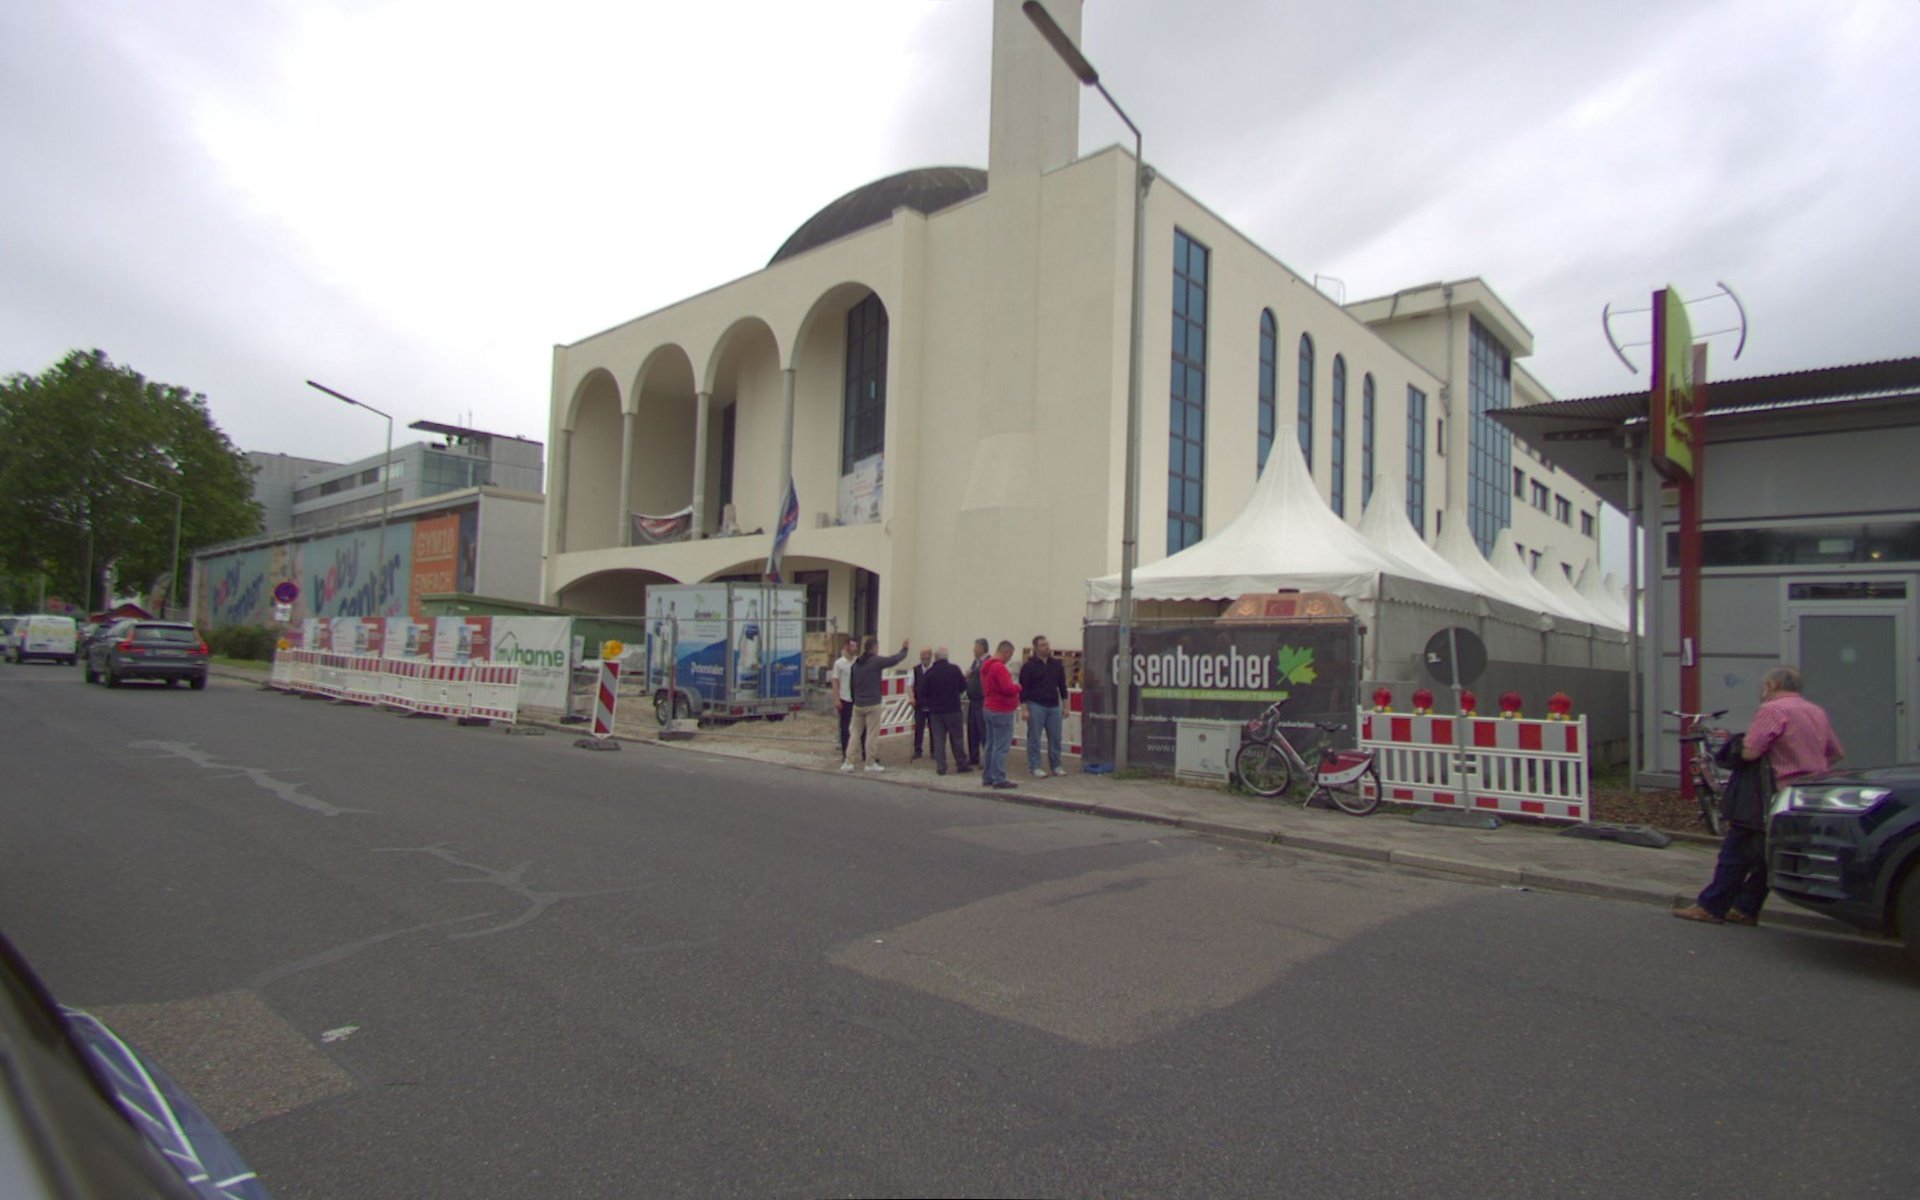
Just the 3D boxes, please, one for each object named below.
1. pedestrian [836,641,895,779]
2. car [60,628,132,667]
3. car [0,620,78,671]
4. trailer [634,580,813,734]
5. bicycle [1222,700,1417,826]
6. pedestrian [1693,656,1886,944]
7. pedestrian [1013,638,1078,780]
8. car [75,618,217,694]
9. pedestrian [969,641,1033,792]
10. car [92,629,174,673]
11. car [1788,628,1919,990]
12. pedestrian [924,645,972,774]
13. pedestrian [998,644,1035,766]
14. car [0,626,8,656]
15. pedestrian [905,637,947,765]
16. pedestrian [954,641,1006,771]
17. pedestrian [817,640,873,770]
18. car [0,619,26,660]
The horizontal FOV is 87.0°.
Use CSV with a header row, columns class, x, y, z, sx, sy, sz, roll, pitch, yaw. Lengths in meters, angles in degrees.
class,x,y,z,sx,sy,sz,roll,pitch,yaw
pedestrian,-1.240,1.439,13.388,0.682,1.763,0.490,-2,-3,1
car,-39.594,2.158,46.355,4.150,1.586,1.903,-1,-8,43
car,-34.652,1.692,38.026,4.133,1.774,1.672,-1,-5,42
trailer,-4.498,1.067,19.112,1.777,2.627,3.193,6,-5,-44
bicycle,3.754,1.663,10.707,0.537,1.086,1.903,4,-3,-41
pedestrian,5.167,1.212,6.359,0.667,1.634,0.652,4,-6,6
pedestrian,1.070,1.353,12.796,0.686,1.731,0.687,-2,-3,-1
car,-20.191,1.364,25.045,4.494,1.697,1.913,-1,-5,42
pedestrian,0.478,1.349,11.865,0.530,1.706,0.508,-4,-4,29
car,-33.275,2.016,40.671,4.150,1.586,1.903,-1,-6,43
car,6.558,1.063,4.185,4.729,1.704,1.845,-1,-8,43
pedestrian,-0.156,1.409,13.139,0.564,1.624,0.490,-2,-3,1
pedestrian,0.782,1.449,14.126,0.484,1.623,0.540,1,2,3
car,-53.188,2.181,55.014,3.946,1.584,1.710,-1,-5,43
pedestrian,-0.475,1.413,14.351,0.521,1.763,0.490,-2,-3,1
pedestrian,0.271,1.424,13.684,0.568,1.706,0.408,-3,-3,18
pedestrian,-1.605,1.457,14.223,0.682,1.763,0.490,-2,-3,1
car,-45.895,1.812,48.020,4.382,1.821,1.776,0,-5,42
